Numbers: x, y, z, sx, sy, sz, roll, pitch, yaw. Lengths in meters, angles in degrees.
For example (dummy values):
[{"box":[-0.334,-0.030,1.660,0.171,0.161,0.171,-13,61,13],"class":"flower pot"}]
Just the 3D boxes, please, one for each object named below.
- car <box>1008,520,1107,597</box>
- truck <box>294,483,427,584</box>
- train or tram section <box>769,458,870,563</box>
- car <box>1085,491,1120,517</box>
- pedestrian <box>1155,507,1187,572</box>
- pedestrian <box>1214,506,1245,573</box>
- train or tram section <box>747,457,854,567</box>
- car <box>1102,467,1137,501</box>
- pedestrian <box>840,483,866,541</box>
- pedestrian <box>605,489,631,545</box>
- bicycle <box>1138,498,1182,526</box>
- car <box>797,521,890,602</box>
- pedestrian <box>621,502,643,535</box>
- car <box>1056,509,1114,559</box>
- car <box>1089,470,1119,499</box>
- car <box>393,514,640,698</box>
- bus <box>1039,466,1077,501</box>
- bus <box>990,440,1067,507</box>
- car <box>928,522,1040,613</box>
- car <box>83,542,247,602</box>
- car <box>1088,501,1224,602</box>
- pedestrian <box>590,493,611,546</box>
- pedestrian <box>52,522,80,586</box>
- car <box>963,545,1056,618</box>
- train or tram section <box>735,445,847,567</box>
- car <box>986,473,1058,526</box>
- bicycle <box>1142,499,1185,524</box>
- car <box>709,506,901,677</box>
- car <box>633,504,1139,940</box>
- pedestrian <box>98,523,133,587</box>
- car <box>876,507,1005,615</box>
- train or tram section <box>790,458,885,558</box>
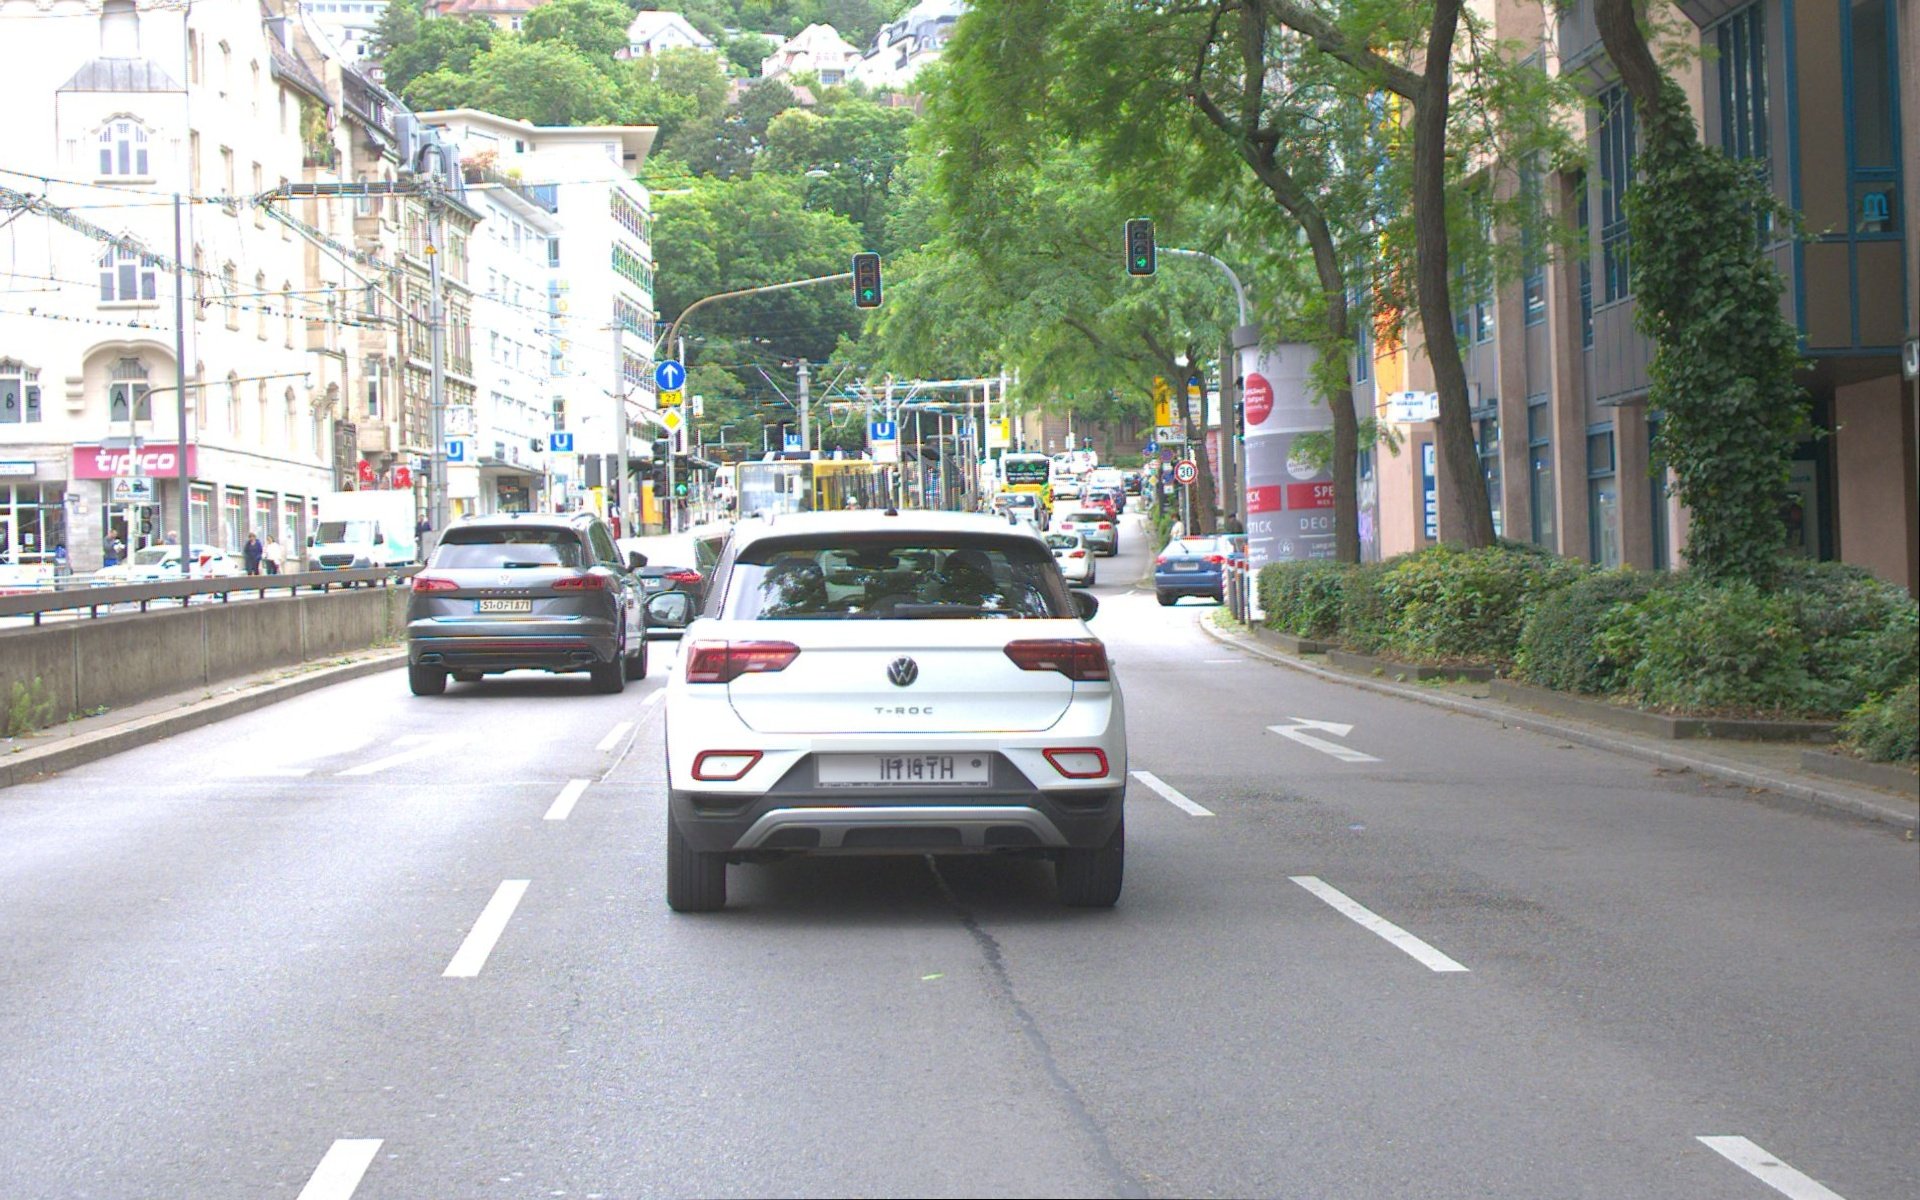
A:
[{"box":[2.592,-1.122,92.672,2.364,2.007,5.149,0,1,-2],"class":"car"},{"box":[-18.856,-2.087,108.551,2.267,3.065,7.373,0,1,5],"class":"truck"},{"box":[-4.774,-3.077,117.765,2.835,3.508,5.751,0,2,4],"class":"train or tram section"},{"box":[6.683,-4.511,161.144,1.582,1.168,3.678,0,1,3],"class":"car"},{"box":[5.985,-1.708,97.442,0.693,1.771,0.689,-5,1,-1],"class":"pedestrian"},{"box":[7.530,-1.695,96.087,0.721,1.796,0.835,-3,4,-1],"class":"pedestrian"},{"box":[-5.149,-2.896,112.025,2.835,3.508,5.751,0,2,4],"class":"train or tram section"},{"box":[9.747,-7.069,210.403,1.993,2.007,4.000,0,1,0],"class":"car"},{"box":[-3.195,-2.612,102.260,0.685,1.705,0.712,-1,2,3],"class":"pedestrian"},{"box":[-10.822,-2.628,108.834,0.627,1.756,0.846,-1,1,4],"class":"pedestrian"},{"box":[9.030,-3.969,155.198,1.882,1.262,0.764,0,1,14],"class":"bicycle"},{"box":[-2.506,-0.824,72.973,1.884,1.678,4.162,0,1,-3],"class":"car"},{"box":[-11.179,-2.792,117.178,0.635,1.103,0.690,-1,2,3],"class":"pedestrian"},{"box":[4.336,-2.278,118.540,1.885,1.678,4.161,0,1,4],"class":"car"},{"box":[8.135,-6.505,194.213,1.673,1.555,3.678,0,1,3],"class":"car"},{"box":[-4.149,0.007,32.736,1.993,1.630,4.001,-1,1,-3],"class":"car"},{"box":[5.839,-6.943,205.204,1.993,2.007,4.000,0,1,-1],"class":"bus"},{"box":[3.472,-6.212,170.993,3.372,3.054,13.324,0,1,3],"class":"bus"},{"box":[0.591,-0.758,78.474,2.365,2.007,5.148,0,1,2],"class":"car"},{"box":[-21.342,-0.770,92.460,1.751,1.555,4.507,1,1,28],"class":"car"},{"box":[3.982,-1.005,70.871,2.364,2.007,5.149,0,1,-2],"class":"car"},{"box":[-11.794,-2.651,112.863,0.635,1.705,0.690,-1,2,-5],"class":"pedestrian"},{"box":[-24.791,-1.275,95.321,0.575,1.773,0.511,-1,1,8],"class":"pedestrian"},{"box":[1.067,-0.413,74.056,1.944,1.525,4.000,0,1,1],"class":"car"},{"box":[-5.181,-2.924,106.243,2.835,3.666,5.751,0,2,4],"class":"train or tram section"},{"box":[2.459,-3.923,134.981,2.365,2.007,5.147,0,1,7],"class":"car"},{"box":[9.285,-4.051,156.675,1.881,1.133,0.808,0,1,10],"class":"bicycle"},{"box":[-1.642,-0.122,35.852,1.884,1.678,4.162,0,1,-3],"class":"car"},{"box":[-0.385,0.408,14.580,1.837,1.578,4.157,0,1,-3],"class":"car"},{"box":[-23.641,-1.272,96.213,0.710,1.773,0.595,0,1,19],"class":"pedestrian"},{"box":[-0.350,-0.646,55.804,1.884,1.678,4.162,0,1,-3],"class":"car"},{"box":[-4.372,-3.333,123.529,2.835,3.508,5.751,0,2,4],"class":"train or tram section"}]
